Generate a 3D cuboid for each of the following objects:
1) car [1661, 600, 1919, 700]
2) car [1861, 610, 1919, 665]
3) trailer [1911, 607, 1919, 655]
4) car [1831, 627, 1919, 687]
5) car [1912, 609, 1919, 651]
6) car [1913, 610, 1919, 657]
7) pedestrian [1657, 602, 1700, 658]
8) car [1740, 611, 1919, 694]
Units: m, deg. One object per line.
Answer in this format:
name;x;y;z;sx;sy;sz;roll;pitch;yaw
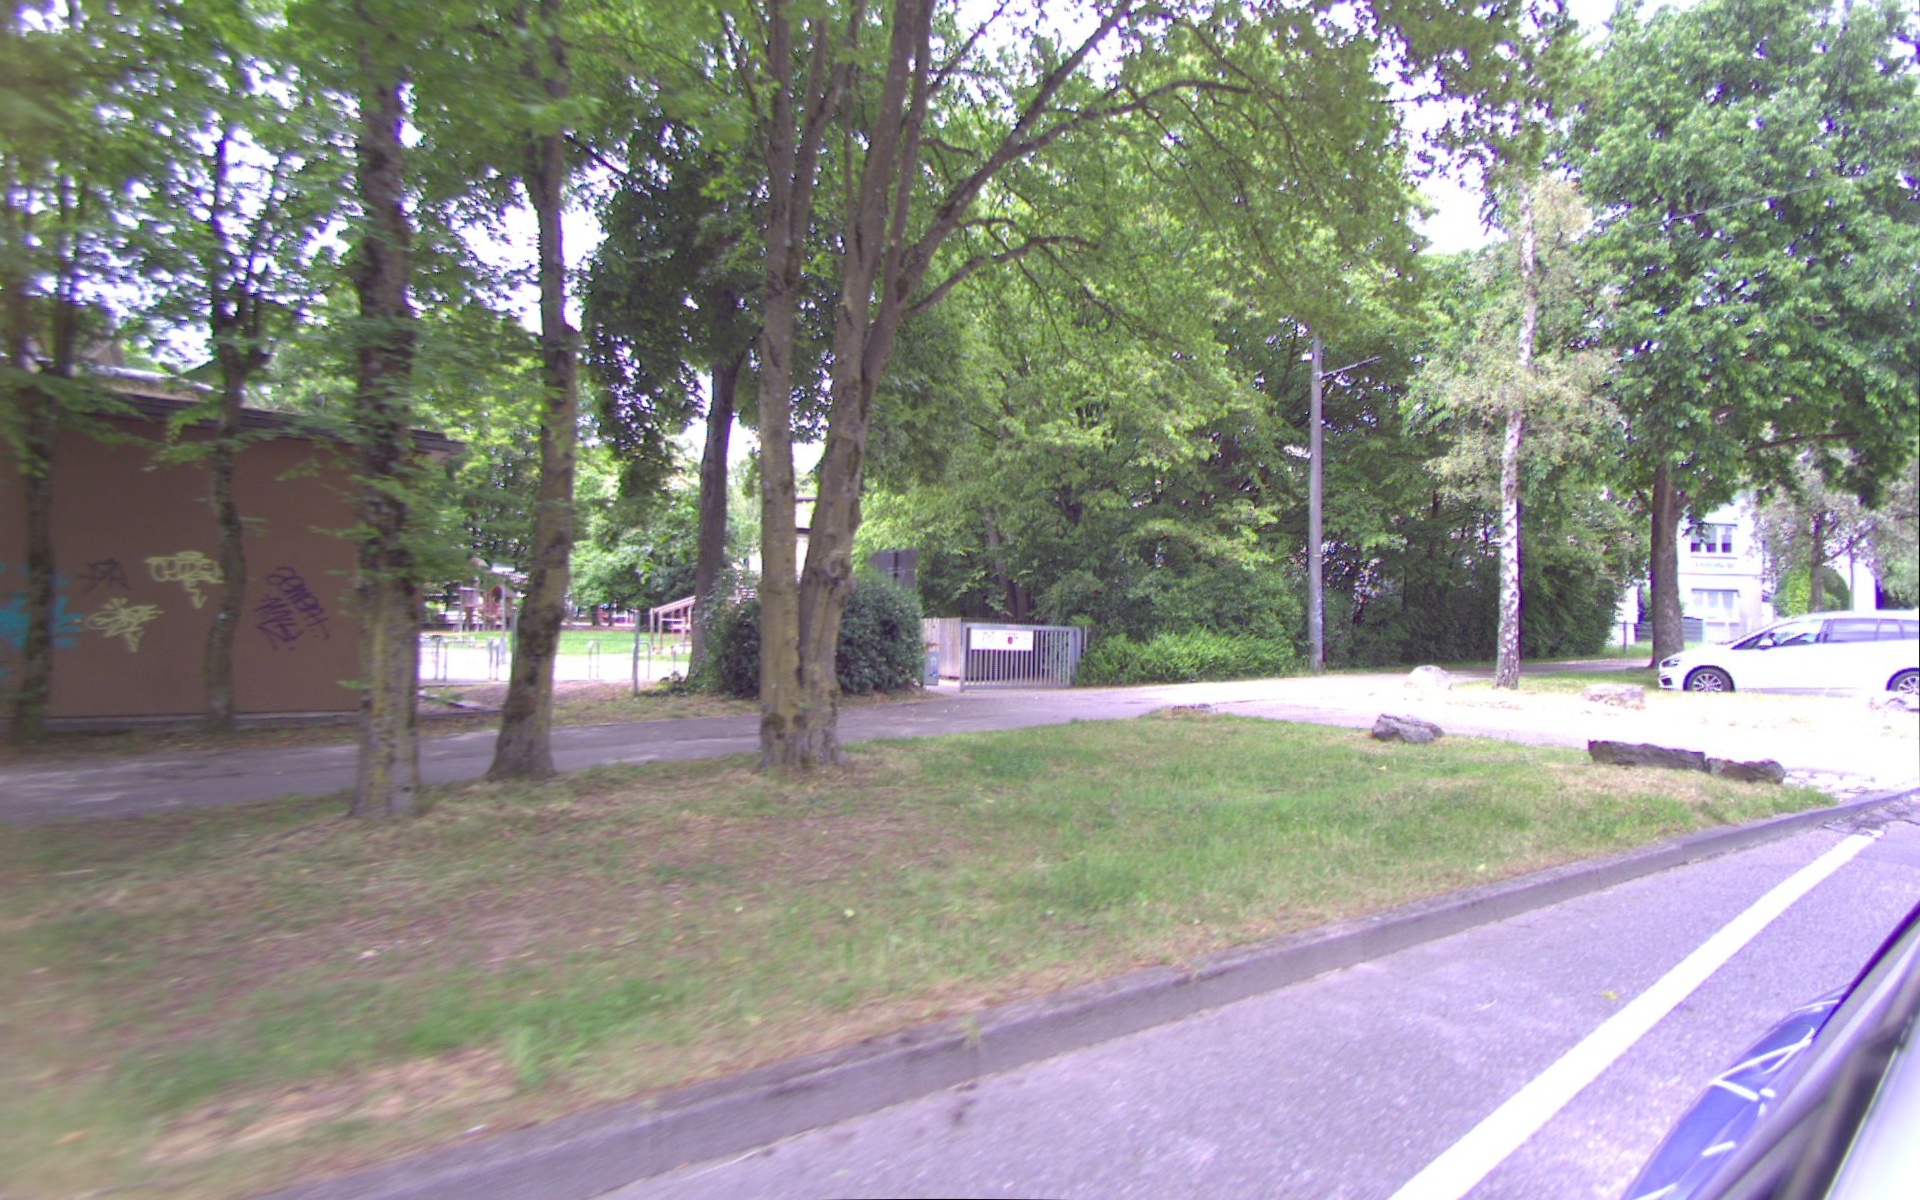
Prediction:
car;15.271;0.852;17.891;4.466;1.606;1.877;-2;-2;44
car;27.059;0.986;27.280;3.979;1.483;1.771;-2;-2;39
trailer;33.284;1.005;32.384;3.978;1.572;1.636;-1;-2;38
car;24.934;1.436;25.748;3.973;1.483;1.842;-2;-2;35
car;34.965;0.989;33.980;3.965;1.483;1.772;-2;-2;30
car;31.626;0.991;30.368;3.961;1.483;1.833;-1;-2;27
pedestrian;21.552;0.905;30.366;0.762;1.665;0.695;1;-2;-16
car;17.471;0.968;19.208;4.122;1.483;1.774;-2;-2;37
